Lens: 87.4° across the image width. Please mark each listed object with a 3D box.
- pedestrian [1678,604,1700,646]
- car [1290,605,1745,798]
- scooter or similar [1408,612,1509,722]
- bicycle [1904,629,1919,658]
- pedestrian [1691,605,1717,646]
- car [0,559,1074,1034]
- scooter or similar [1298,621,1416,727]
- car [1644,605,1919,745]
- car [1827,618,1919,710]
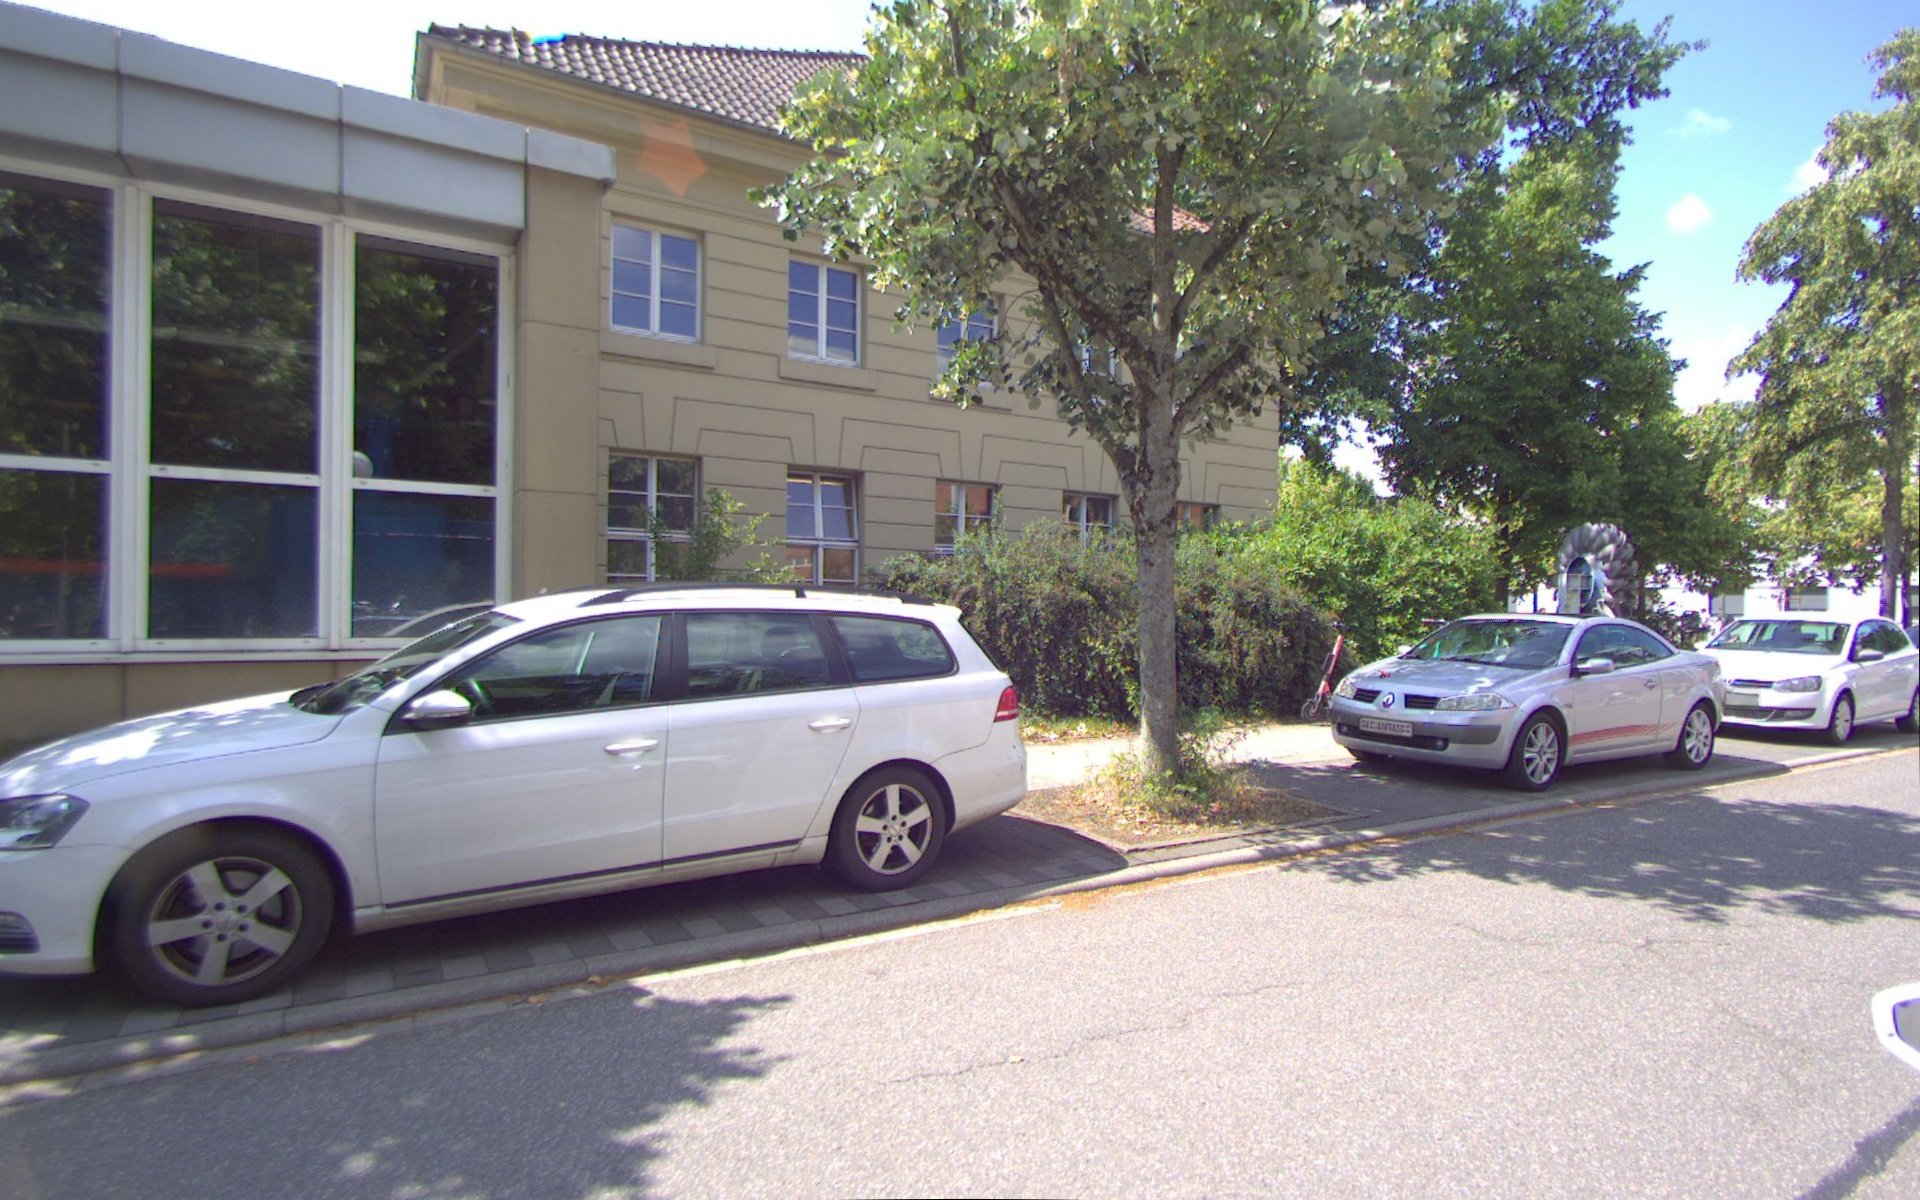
[{"bbox_3d":[31.530,1.092,43.423,0.579,1.788,0.549,1,0,-30],"label":"pedestrian"},{"bbox_3d":[5.141,0.777,9.160,4.115,1.362,1.717,1,2,-30],"label":"car"},{"bbox_3d":[6.257,0.826,12.600,1.215,1.304,0.522,0,-3,-31],"label":"scooter or similar"},{"bbox_3d":[34.454,1.545,35.315,0.794,1.015,2.125,2,0,11],"label":"bicycle"},{"bbox_3d":[32.479,1.096,43.837,0.629,1.772,0.690,1,0,-30],"label":"pedestrian"},{"bbox_3d":[-1.753,0.624,4.949,4.534,1.476,1.715,1,1,-33],"label":"car"},{"bbox_3d":[4.653,0.859,11.783,1.206,1.187,0.470,1,0,-11],"label":"scooter or similar"},{"bbox_3d":[10.199,0.810,12.249,3.764,1.431,1.653,1,1,-31],"label":"car"},{"bbox_3d":[15.428,0.955,15.737,3.881,1.318,1.637,1,-1,-30],"label":"car"}]
